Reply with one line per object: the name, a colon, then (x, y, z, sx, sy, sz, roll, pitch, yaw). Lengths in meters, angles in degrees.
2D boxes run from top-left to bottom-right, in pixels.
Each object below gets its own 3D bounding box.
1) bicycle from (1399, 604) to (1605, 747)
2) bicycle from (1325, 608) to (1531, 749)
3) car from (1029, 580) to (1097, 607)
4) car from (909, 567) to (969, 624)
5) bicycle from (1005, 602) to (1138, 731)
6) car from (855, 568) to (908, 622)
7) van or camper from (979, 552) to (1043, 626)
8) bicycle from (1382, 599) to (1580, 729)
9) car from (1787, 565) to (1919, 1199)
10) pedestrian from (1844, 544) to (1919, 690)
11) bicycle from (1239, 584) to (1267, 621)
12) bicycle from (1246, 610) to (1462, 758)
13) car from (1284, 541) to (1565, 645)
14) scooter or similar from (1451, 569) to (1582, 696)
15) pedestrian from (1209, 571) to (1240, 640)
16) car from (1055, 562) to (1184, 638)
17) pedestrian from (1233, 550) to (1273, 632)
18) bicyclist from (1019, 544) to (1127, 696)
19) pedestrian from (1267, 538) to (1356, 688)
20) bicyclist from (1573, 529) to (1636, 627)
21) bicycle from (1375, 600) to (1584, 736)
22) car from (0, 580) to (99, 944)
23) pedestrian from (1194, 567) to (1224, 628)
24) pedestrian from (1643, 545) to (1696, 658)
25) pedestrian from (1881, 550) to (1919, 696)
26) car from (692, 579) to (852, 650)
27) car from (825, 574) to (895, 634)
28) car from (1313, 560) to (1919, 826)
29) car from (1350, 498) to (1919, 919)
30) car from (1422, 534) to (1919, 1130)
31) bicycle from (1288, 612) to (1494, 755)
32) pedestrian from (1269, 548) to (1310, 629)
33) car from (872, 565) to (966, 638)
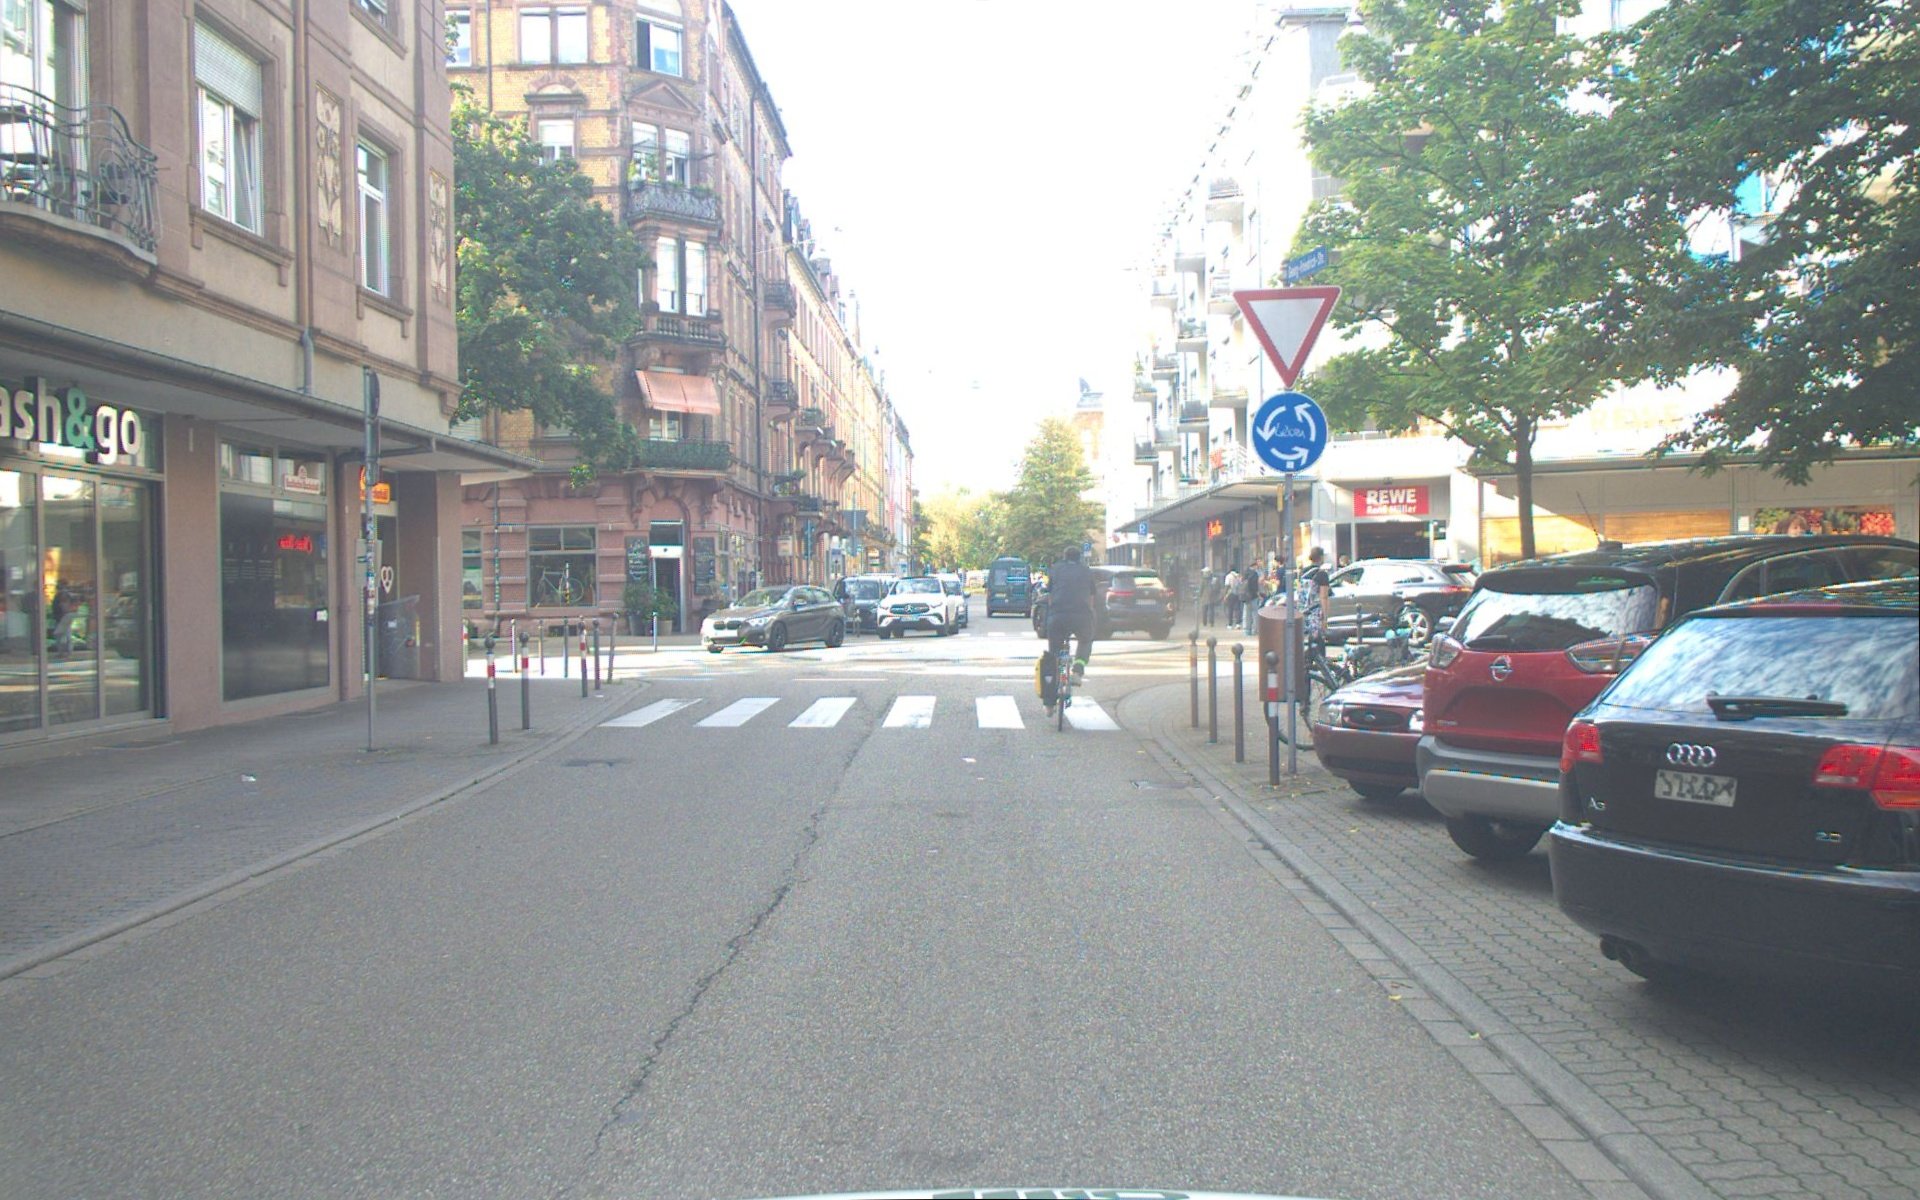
bicycle: (4.351, 0.586, 13.416, 0.342, 1.058, 1.841, -5, 1, -26)
bicycle: (3.839, 0.626, 13.754, 0.342, 1.058, 2.001, -5, 1, -26)
car: (6.196, -0.419, 99.783, 3.906, 1.512, 2.000, -2, 1, -2)
car: (-0.685, -0.173, 57.052, 1.756, 1.821, 4.737, -2, 1, 2)
bicycle: (1.181, 0.630, 16.946, 0.652, 1.198, 2.497, 0, 0, 21)
car: (-3.103, -0.217, 65.783, 1.953, 2.049, 3.999, -2, 1, -1)
van or camper: (2.193, -0.474, 72.632, 2.480, 3.090, 4.458, -1, 1, -1)
bicycle: (4.587, 0.554, 14.705, 0.384, 1.058, 1.903, -5, 1, -28)
car: (3.772, 0.574, 2.634, 4.699, 1.482, 2.038, -4, 2, -28)
pedestrian: (9.295, 0.159, 16.389, 0.741, 1.417, 0.549, -1, 0, -4)
bicycle: (8.352, 0.056, 47.222, 0.356, 1.034, 1.429, -1, 1, -7)
bicycle: (3.113, 0.644, 13.257, 0.542, 1.058, 1.840, -5, 1, -28)
car: (8.729, -0.128, 31.416, 2.026, 1.754, 4.770, -4, 3, -42)
scooter or similar: (5.871, 0.333, 17.444, 1.220, 1.296, 0.664, -1, 0, 25)
pedestrian: (6.875, 0.136, 42.922, 0.725, 1.742, 0.734, -1, 0, 12)
car: (3.661, -0.014, 38.682, 1.958, 1.646, 3.989, -1, 1, -11)
pedestrian: (6.883, -0.216, 38.936, 0.850, 1.883, 0.613, -1, 0, 6)
bicyclist: (1.163, 0.196, 16.934, 0.914, 1.509, 0.747, 0, 0, 21)
pedestrian: (4.356, 0.147, 20.496, 0.769, 1.811, 0.789, -1, 1, 39)
bicyclist: (11.468, -0.389, 29.419, 0.992, 1.697, 0.943, -1, 0, 22)
bicycle: (4.396, 0.565, 14.150, 0.439, 1.058, 1.888, -5, 1, -28)
car: (-4.798, 0.683, 5.173, 1.953, 1.445, 4.244, -1, 1, 0)
pedestrian: (6.910, -0.085, 45.896, 0.729, 1.657, 0.813, -1, 0, 12)
pedestrian: (11.300, 0.021, 26.371, 0.615, 1.769, 0.776, -1, 0, 13)
pedestrian: (9.350, 0.206, 15.804, 0.741, 1.366, 0.596, -1, 0, -4)
car: (-4.054, 0.300, 36.397, 1.714, 1.461, 4.211, 0, 0, 22)
car: (-3.182, 0.096, 53.563, 1.745, 1.754, 4.447, 0, 2, 3)
car: (4.489, 0.514, 11.240, 3.886, 1.482, 1.754, -1, 1, -28)
car: (4.341, 0.348, 8.607, 4.288, 1.673, 1.807, -4, 2, -26)
car: (3.997, 0.519, 5.848, 4.343, 1.482, 1.928, -2, 1, -24)
bicycle: (3.495, 0.661, 13.579, 0.454, 1.058, 1.840, -5, 1, -28)
pedestrian: (7.730, -0.270, 38.822, 0.850, 1.883, 0.613, -1, 0, 6)
car: (-1.085, -0.009, 46.211, 1.901, 1.751, 4.854, -2, 2, 7)
